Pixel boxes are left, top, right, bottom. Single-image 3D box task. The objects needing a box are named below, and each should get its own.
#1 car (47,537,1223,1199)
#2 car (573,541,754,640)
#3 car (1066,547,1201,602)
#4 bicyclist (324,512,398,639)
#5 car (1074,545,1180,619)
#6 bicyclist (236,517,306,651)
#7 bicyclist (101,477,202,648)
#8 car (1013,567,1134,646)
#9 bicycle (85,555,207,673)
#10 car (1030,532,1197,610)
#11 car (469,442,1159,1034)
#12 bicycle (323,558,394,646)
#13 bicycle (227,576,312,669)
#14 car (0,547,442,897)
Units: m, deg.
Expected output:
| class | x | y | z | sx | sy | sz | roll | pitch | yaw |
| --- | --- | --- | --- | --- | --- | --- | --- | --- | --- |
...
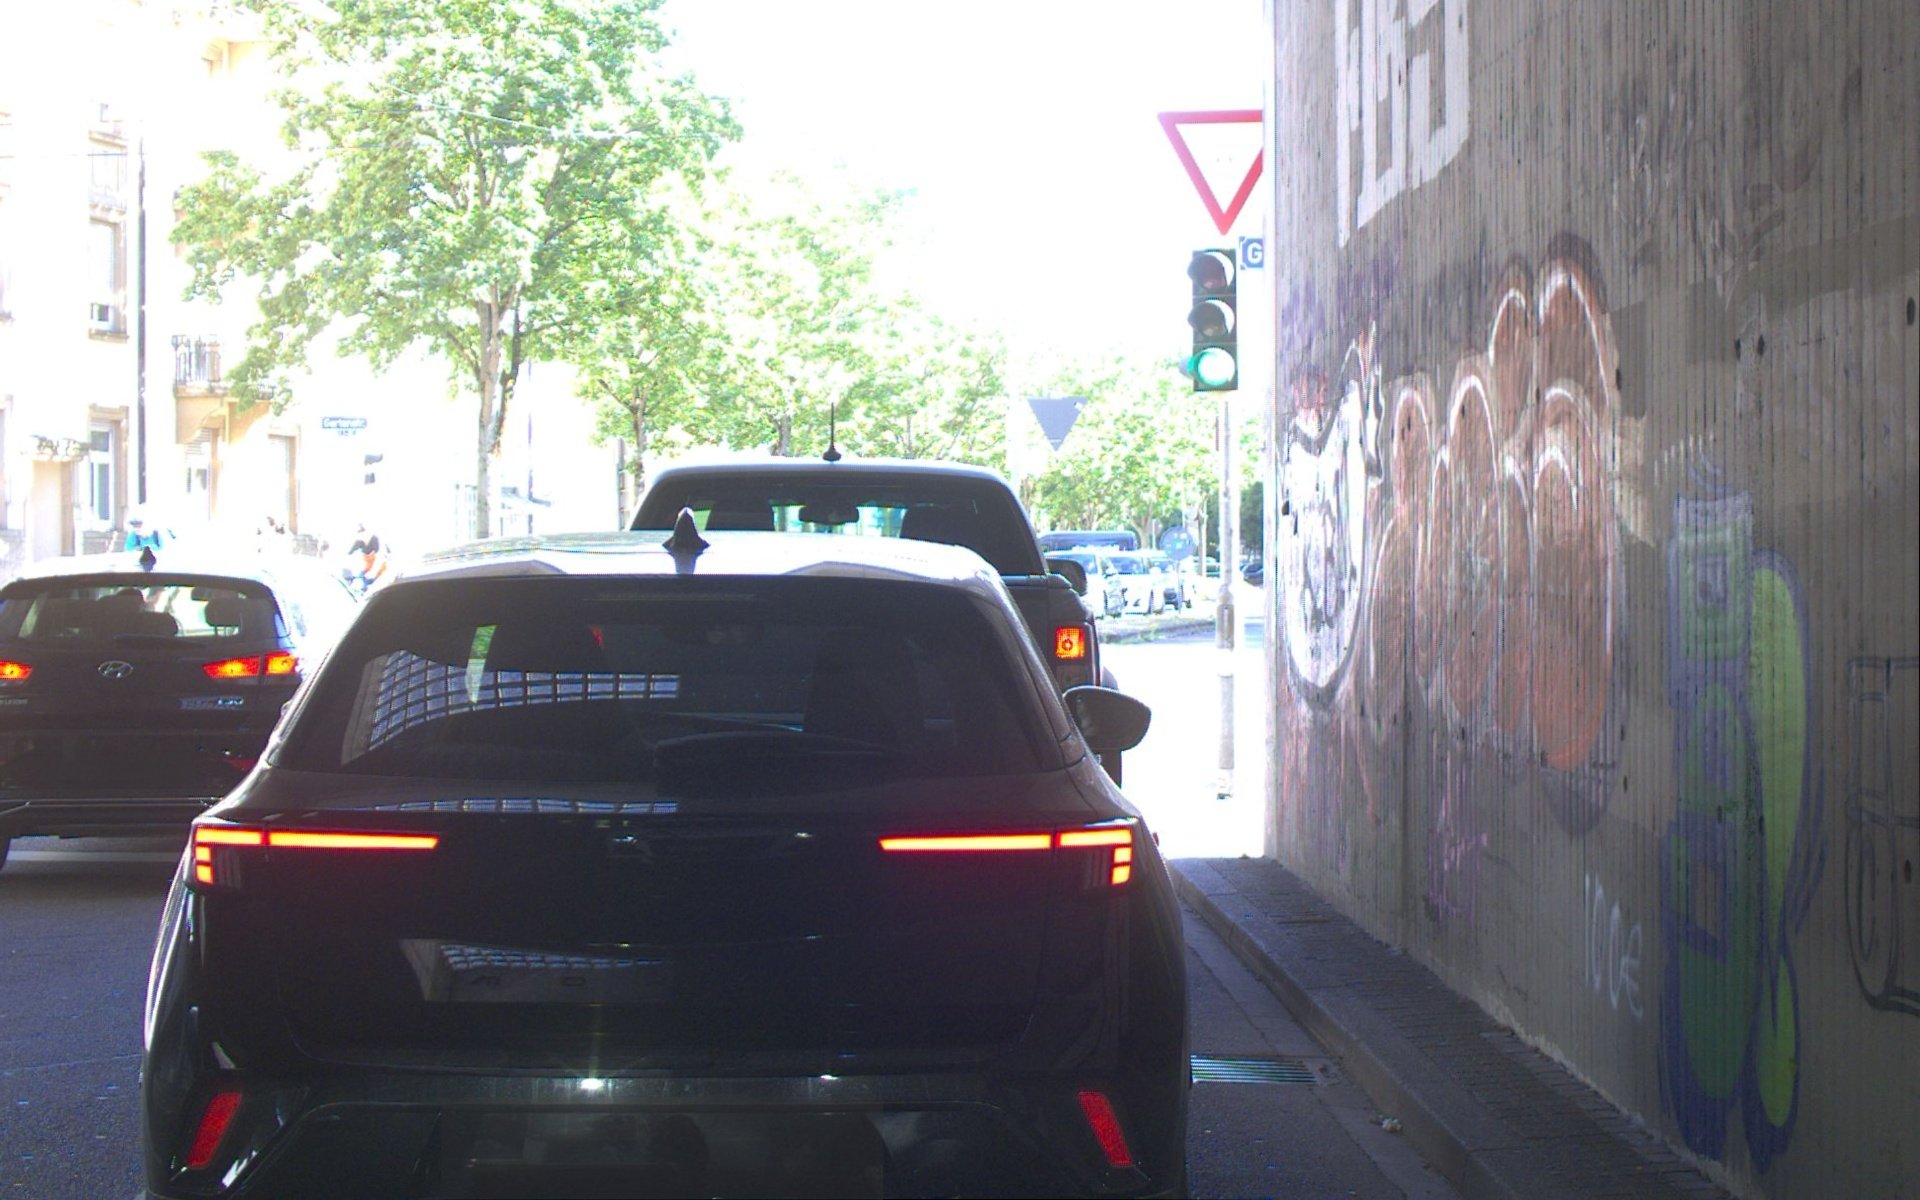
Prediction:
| class | x | y | z | sx | sy | sz | roll | pitch | yaw |
| --- | --- | --- | --- | --- | --- | --- | --- | --- | --- |
| car | -0.518 | 0.636 | 7.115 | 1.781 | 1.512 | 3.756 | 1 | 1 | -1 |
| car | -4.430 | -0.169 | 51.792 | 1.658 | 1.436 | 3.461 | 0 | 1 | 14 |
| car | 6.774 | -1.003 | 133.945 | 4.883 | 2.076 | 1.986 | -1 | 0 | -25 |
| bicyclist | -7.929 | -0.331 | 45.561 | 0.782 | 1.654 | 1.031 | 0 | 1 | 1 |
| car | 3.624 | -0.408 | 74.118 | 1.705 | 1.507 | 3.861 | -2 | 1 | 11 |
| bicyclist | -8.450 | -0.198 | 42.166 | 0.606 | 1.627 | 0.910 | 0 | 1 | 5 |
| bicyclist | -8.217 | -0.391 | 34.958 | 0.745 | 1.705 | 0.967 | 0 | 3 | 2 |
| car | 2.223 | 0.109 | 66.311 | 1.708 | 1.447 | 3.849 | 0 | 1 | 12 |
| bicycle | -8.229 | 0.127 | 34.828 | 0.698 | 1.086 | 1.860 | 0 | 3 | 3 |
| car | 5.180 | -0.979 | 116.048 | 5.259 | 2.537 | 1.986 | -1 | 0 | -15 |
| car | -0.502 | 0.384 | 13.132 | 2.133 | 1.829 | 4.941 | 0 | 1 | -1 |
| bicycle | -7.967 | 0.016 | 45.595 | 0.541 | 1.119 | 2.058 | 0 | 1 | 1 |
| bicycle | -8.442 | 0.262 | 42.091 | 0.525 | 1.086 | 1.860 | 0 | 1 | 5 |
| car | -3.641 | 0.482 | 16.651 | 1.800 | 1.446 | 4.327 | -1 | 1 | -3 |
